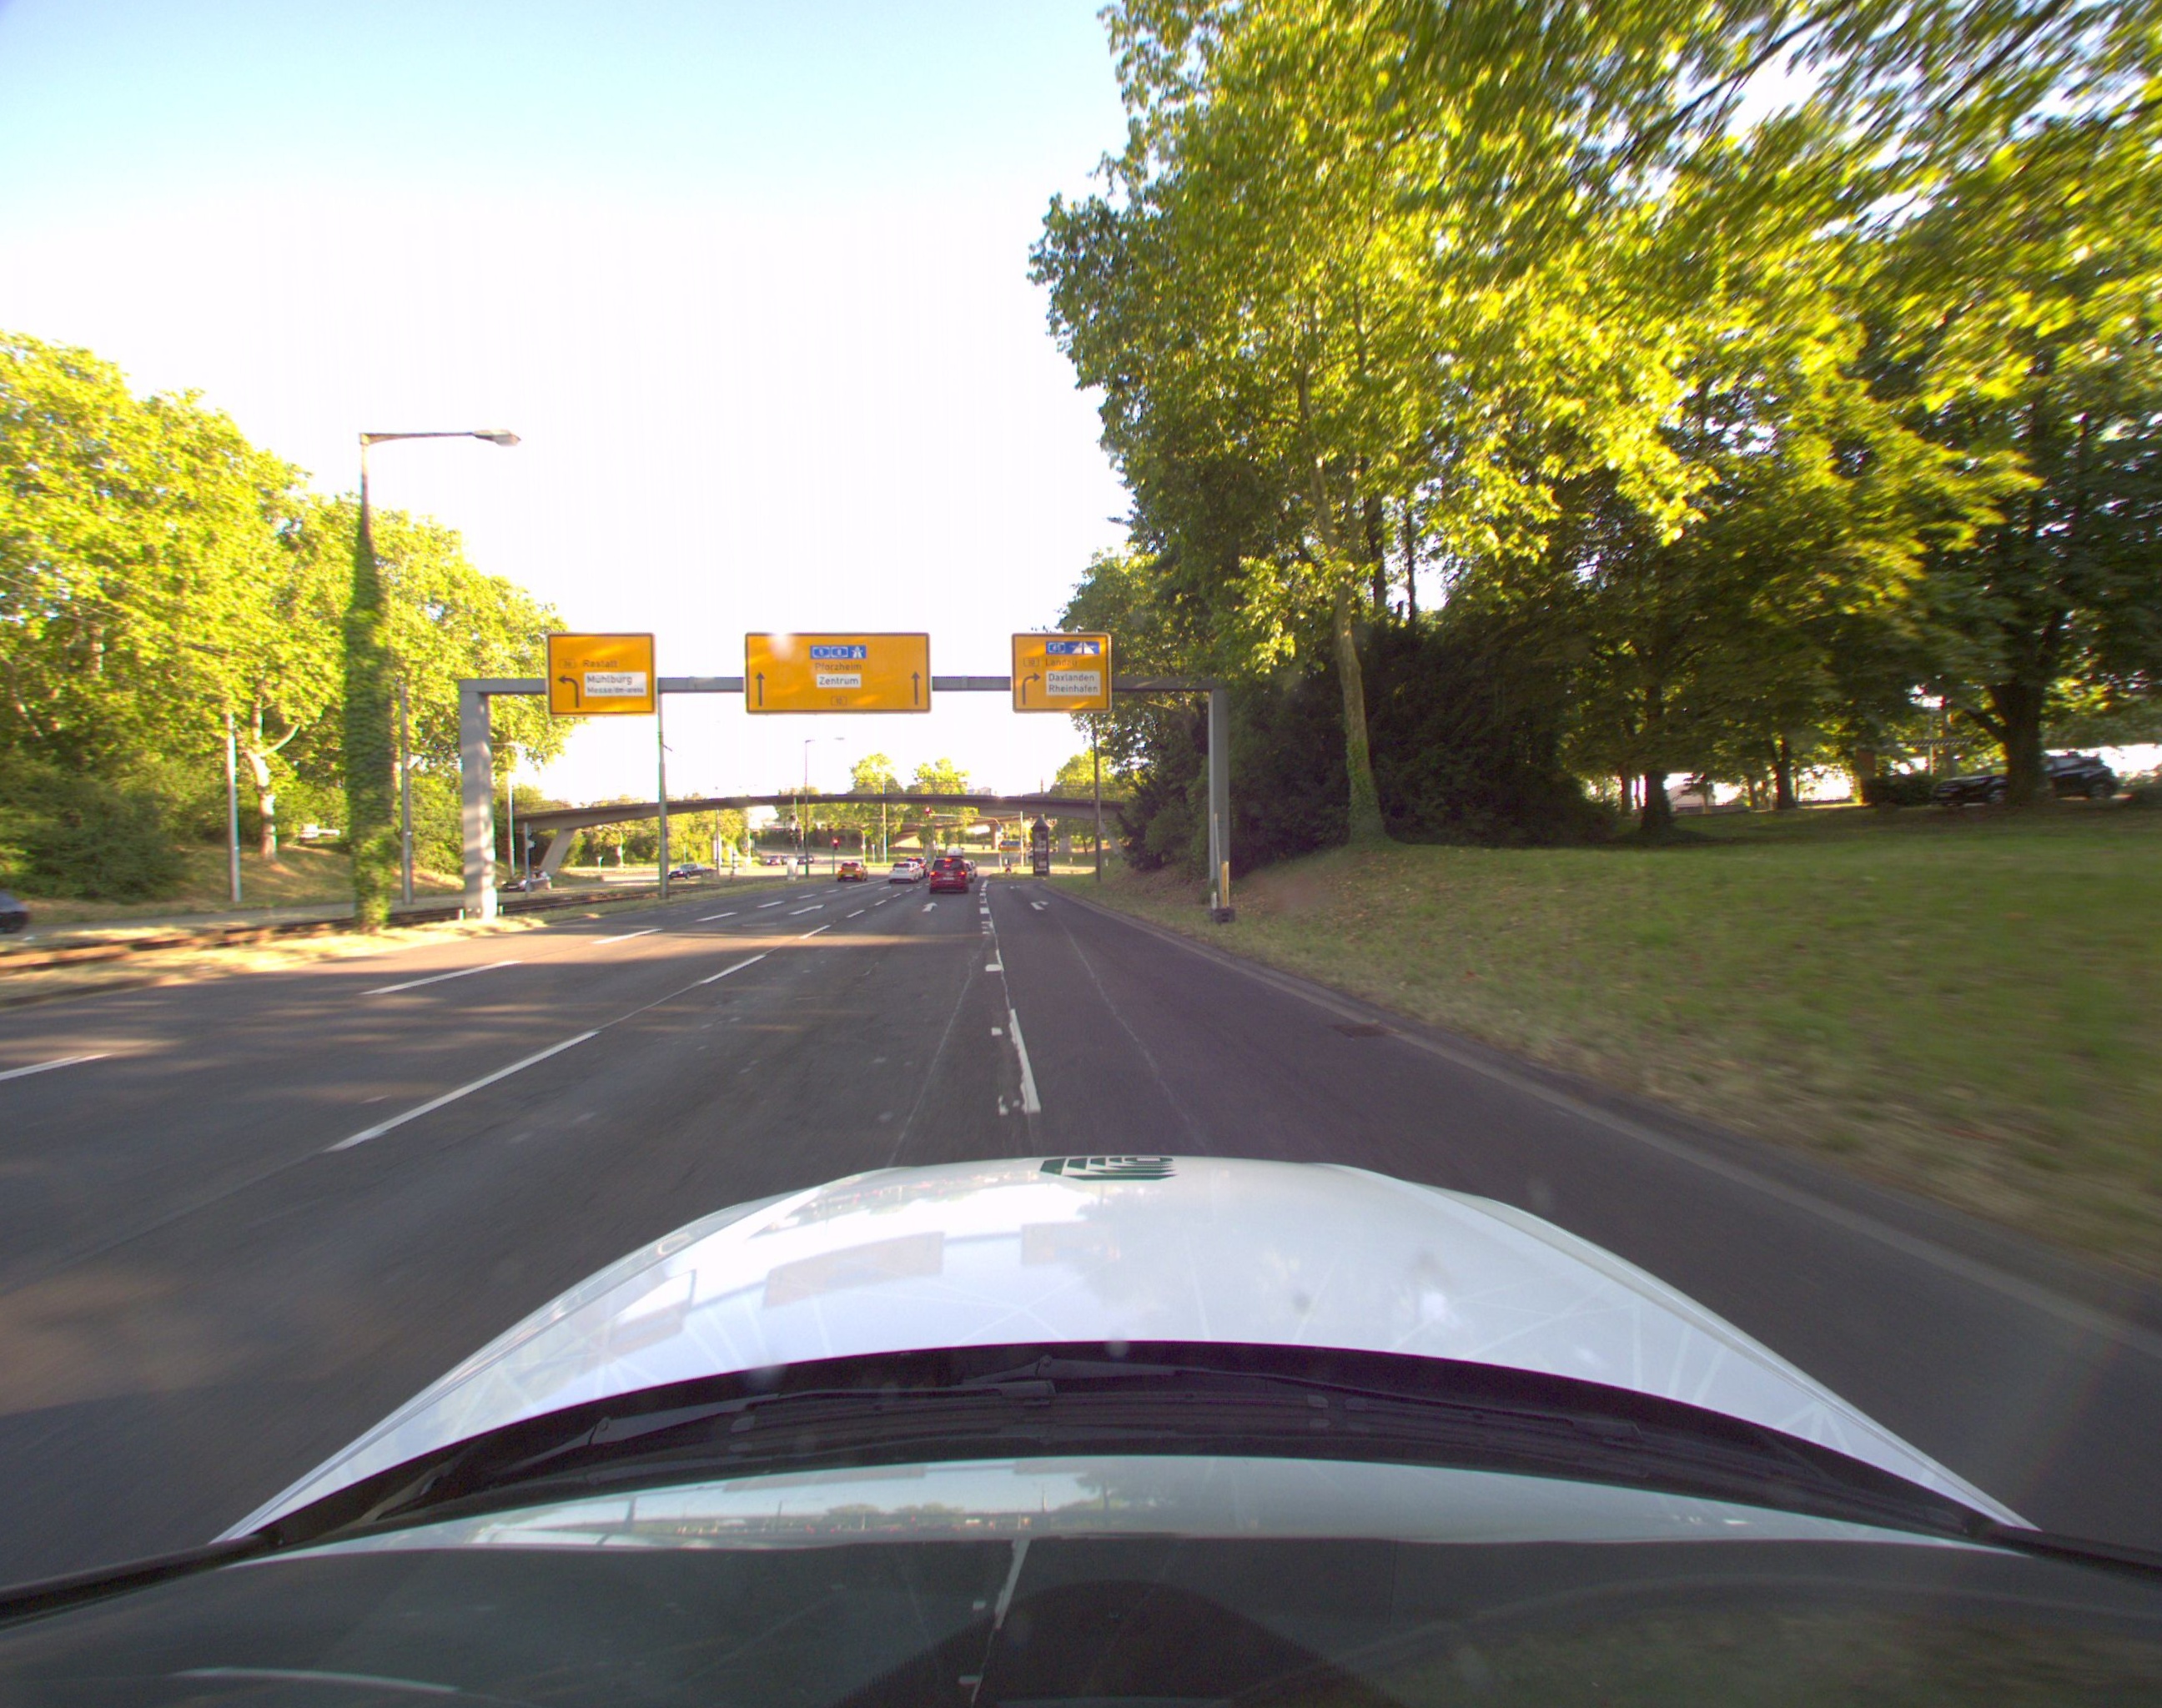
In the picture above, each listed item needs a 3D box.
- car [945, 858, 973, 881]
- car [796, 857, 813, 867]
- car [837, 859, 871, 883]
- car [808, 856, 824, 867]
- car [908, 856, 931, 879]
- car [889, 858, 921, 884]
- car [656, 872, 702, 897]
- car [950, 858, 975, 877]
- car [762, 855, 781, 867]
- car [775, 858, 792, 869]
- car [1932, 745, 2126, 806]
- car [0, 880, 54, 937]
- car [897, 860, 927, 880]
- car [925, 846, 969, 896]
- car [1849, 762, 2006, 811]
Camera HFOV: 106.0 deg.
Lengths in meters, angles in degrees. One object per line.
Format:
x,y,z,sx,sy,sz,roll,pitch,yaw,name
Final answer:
-8.743,1.070,58.427,1.791,1.481,3.990,-3,0,-7,car
-44.428,1.206,130.908,1.877,1.575,3.664,0,0,-8,car
-16.187,1.169,58.163,1.661,1.565,3.990,-3,0,-7,car
-44.533,1.320,137.118,1.877,1.772,3.989,0,0,-8,car
-13.724,1.073,69.195,1.793,1.792,4.807,-3,0,-11,car
-11.978,1.147,55.492,1.661,1.565,4.180,-3,0,-7,car
-37.035,2.761,75.092,1.914,2.013,4.511,-3,0,-1,car
-9.358,1.042,64.489,1.791,1.382,4.466,-3,1,-7,car
-48.431,1.044,127.460,1.877,1.772,3.989,0,0,-8,car
-49.448,1.490,135.263,1.877,1.772,3.989,0,0,-8,car
29.271,-2.409,25.221,3.976,1.552,1.806,-3,0,-2,car
-33.474,1.709,23.711,1.991,1.681,4.182,-3,0,-6,car
-12.860,1.216,62.310,1.739,1.432,4.404,0,0,-5,car
-6.222,0.753,38.190,1.791,2.105,3.990,-3,0,-7,car
32.820,-2.577,31.687,3.965,1.552,1.811,-3,0,7,car
